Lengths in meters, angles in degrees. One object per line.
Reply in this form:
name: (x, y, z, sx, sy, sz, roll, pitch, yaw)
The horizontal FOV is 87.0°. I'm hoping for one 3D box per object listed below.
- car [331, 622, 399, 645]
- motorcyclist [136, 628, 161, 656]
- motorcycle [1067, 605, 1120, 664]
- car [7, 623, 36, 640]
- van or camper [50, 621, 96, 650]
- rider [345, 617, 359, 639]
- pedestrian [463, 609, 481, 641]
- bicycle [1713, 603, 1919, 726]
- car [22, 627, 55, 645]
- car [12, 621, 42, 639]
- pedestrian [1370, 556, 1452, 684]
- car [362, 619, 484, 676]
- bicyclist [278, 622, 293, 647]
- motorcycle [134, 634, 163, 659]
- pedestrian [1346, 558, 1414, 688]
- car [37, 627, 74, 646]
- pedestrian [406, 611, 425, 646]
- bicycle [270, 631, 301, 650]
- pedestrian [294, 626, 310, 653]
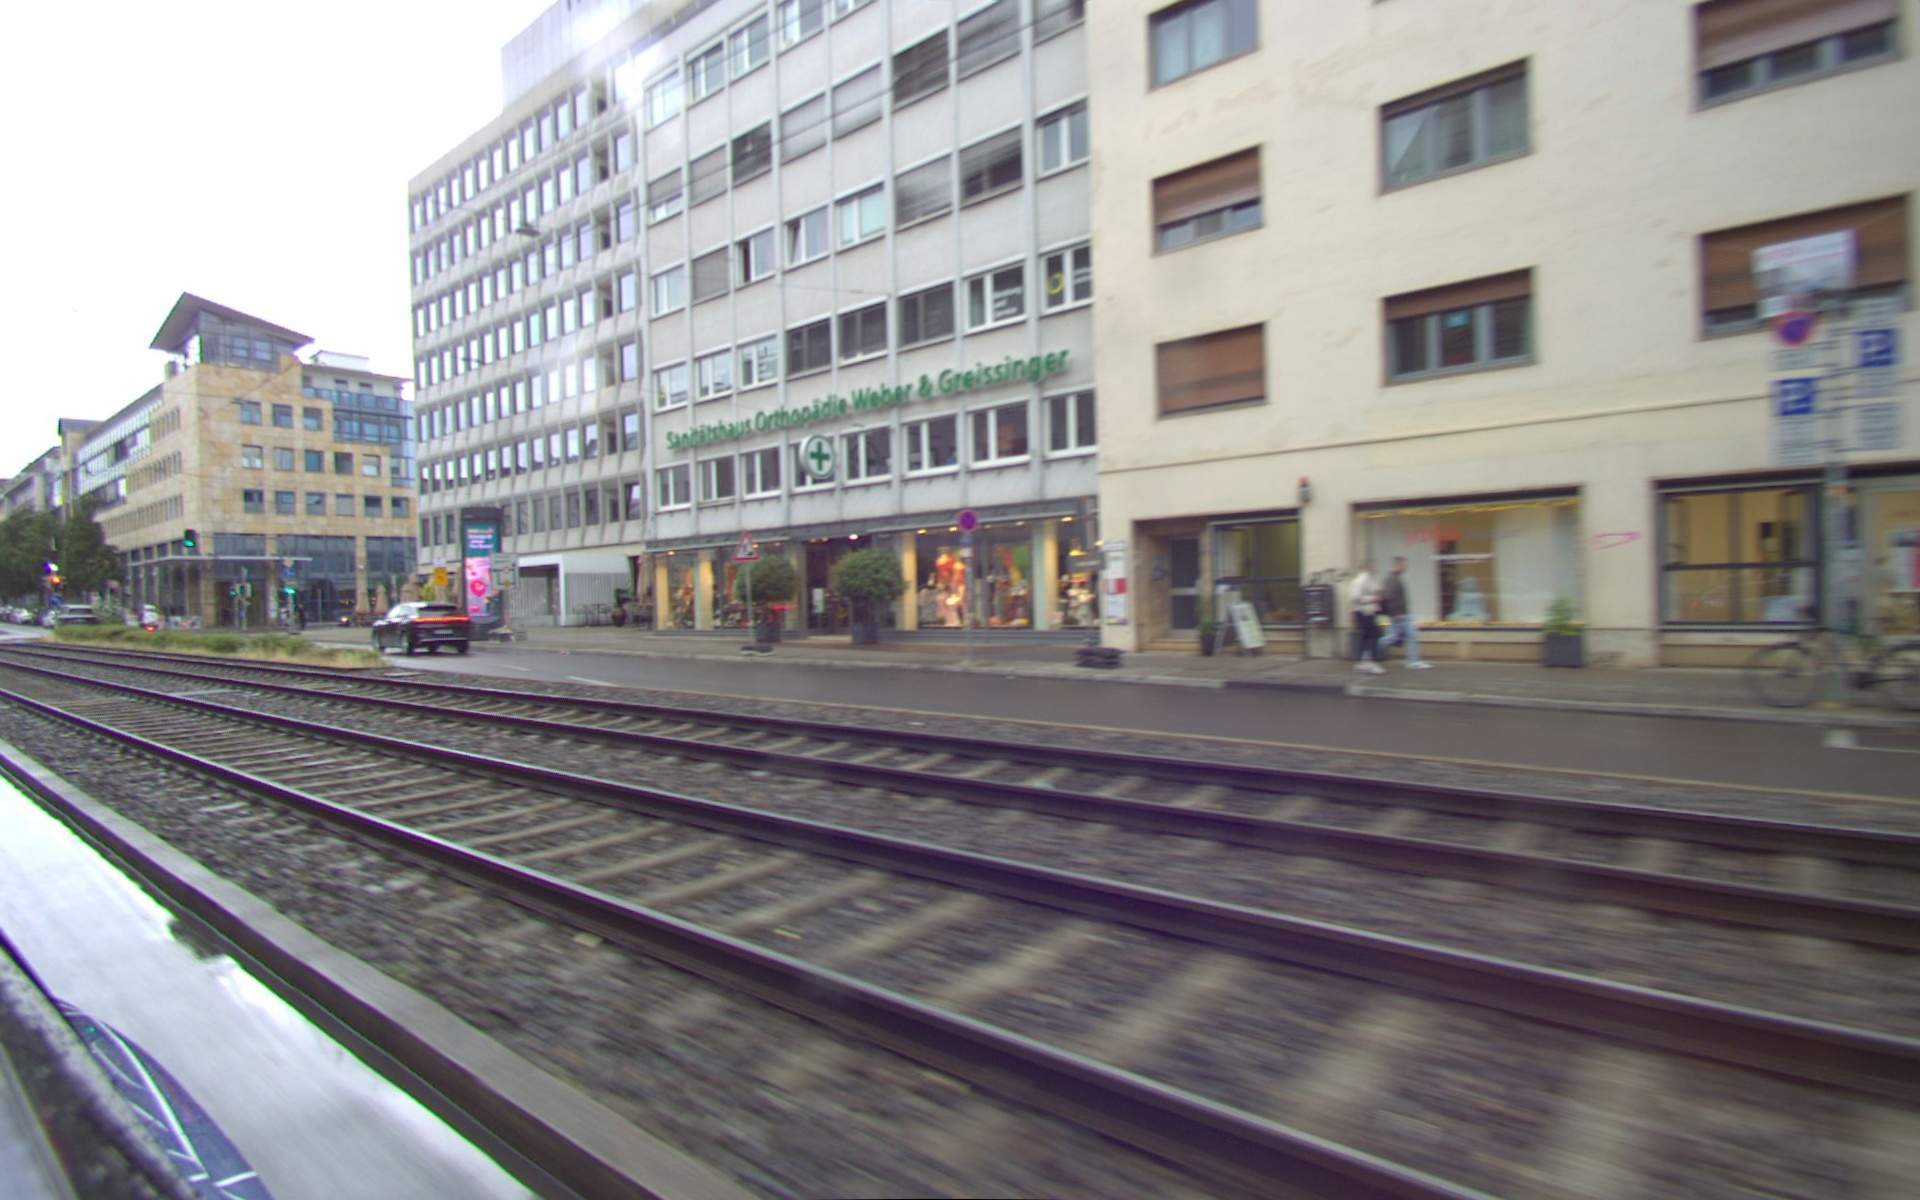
car: (-44.050, 2.479, 74.980, 1.890, 1.541, 3.945, -2, 0, 42)
motorcyclist: (-37.292, 1.922, 46.507, 0.970, 1.226, 0.734, -1, 1, 43)
motorcycle: (2.876, 0.716, 21.750, 0.385, 1.189, 1.462, -2, 0, 39)
car: (-90.190, 2.977, 97.204, 4.291, 1.509, 1.632, -1, 0, 41)
van or camper: (-68.938, 2.690, 78.597, 5.195, 2.012, 1.996, 0, 1, 41)
rider: (-46.921, 2.175, 78.122, 0.783, 1.688, 0.701, -2, 0, 41)
pedestrian: (-27.000, 1.366, 56.004, 0.843, 1.762, 0.559, -2, 0, 36)
bicycle: (9.568, 0.664, 10.807, 2.397, 1.236, 0.586, -1, 1, 34)
car: (-82.489, 3.241, 90.574, 3.996, 1.497, 1.672, -2, 0, 40)
car: (-86.278, 2.749, 93.573, 4.191, 1.509, 1.632, -1, 0, 41)
pedestrian: (7.012, 0.293, 15.733, 0.982, 1.910, 0.720, -1, 0, 41)
car: (-16.482, 1.394, 30.974, 4.445, 1.530, 1.971, -1, 0, 44)
bicyclist: (-49.570, 2.552, 74.404, 0.783, 1.818, 0.701, -2, 0, 41)
motorcycle: (-37.299, 2.136, 46.520, 1.931, 1.067, 0.734, -1, 1, 43)
pedestrian: (6.358, 0.338, 15.321, 0.742, 1.910, 0.671, -1, 0, 41)
car: (-74.845, 3.035, 83.740, 4.251, 1.497, 1.672, -2, 0, 40)
pedestrian: (-28.924, 1.504, 53.742, 0.843, 1.836, 0.559, -2, 0, 36)
bicycle: (-49.574, 2.976, 74.405, 0.659, 1.321, 1.746, -2, 0, 40)
pedestrian: (-45.006, 2.724, 69.250, 0.667, 1.794, 0.705, -2, 0, -15)
